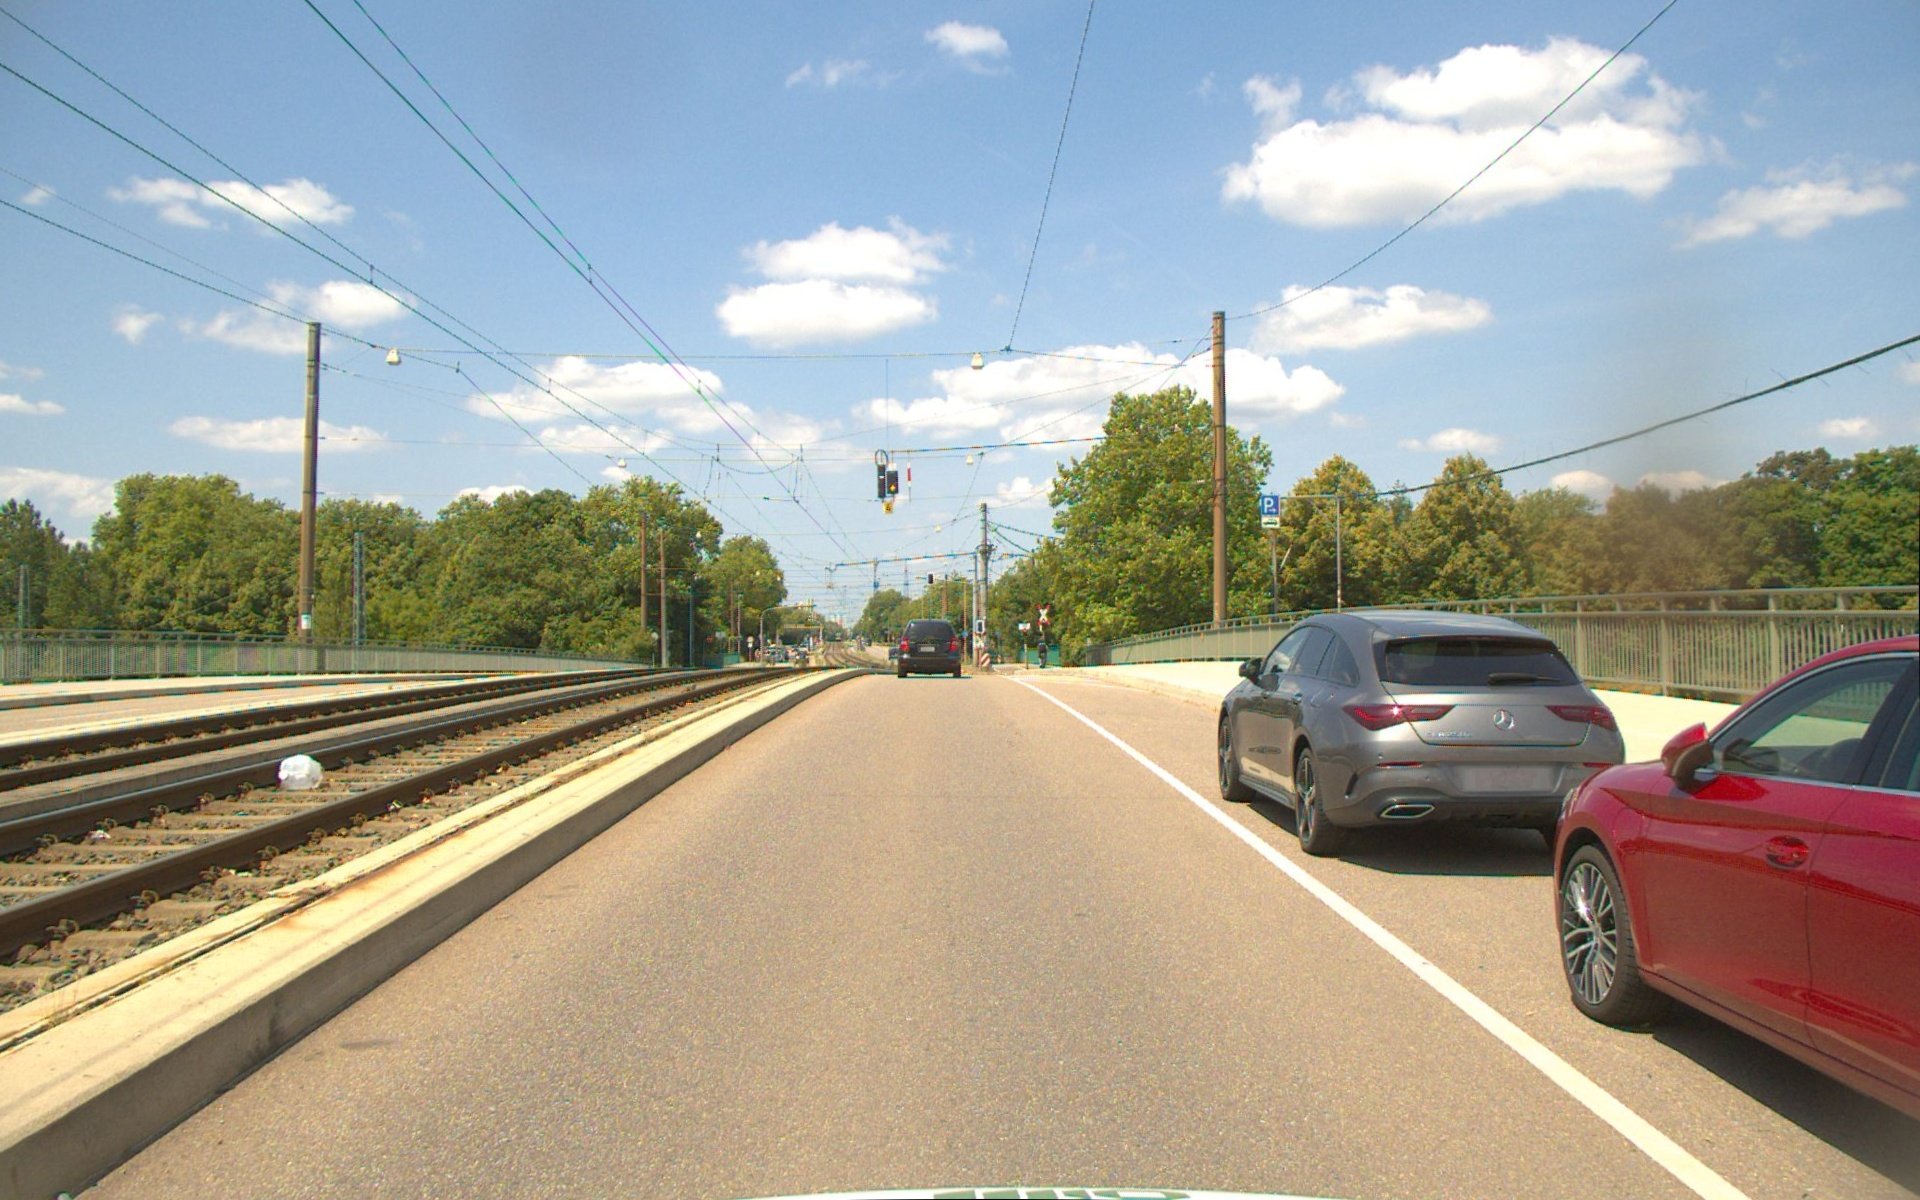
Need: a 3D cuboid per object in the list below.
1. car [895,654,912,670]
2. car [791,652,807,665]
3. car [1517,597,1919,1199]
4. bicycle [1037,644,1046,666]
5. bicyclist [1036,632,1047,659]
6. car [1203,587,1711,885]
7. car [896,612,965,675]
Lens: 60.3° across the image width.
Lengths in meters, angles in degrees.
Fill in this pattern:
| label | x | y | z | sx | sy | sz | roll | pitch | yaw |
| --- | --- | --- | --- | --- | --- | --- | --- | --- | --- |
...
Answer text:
| label | x | y | z | sx | sy | sz | roll | pitch | yaw |
| --- | --- | --- | --- | --- | --- | --- | --- | --- | --- |
| car | -6.690 | 7.345 | 195.139 | 1.846 | 1.668 | 3.999 | 3 | -1 | 0 |
| car | -20.346 | 7.386 | 209.651 | 1.670 | 1.537 | 3.732 | -1 | -2 | 0 |
| car | 3.161 | 0.748 | 4.744 | 1.613 | 1.485 | 4.284 | 1 | 0 | -1 |
| bicycle | 4.493 | 3.023 | 91.214 | 0.423 | 1.172 | 1.855 | 1 | 0 | 0 |
| bicyclist | 4.502 | 2.508 | 91.280 | 0.573 | 1.521 | 0.558 | 1 | -1 | 0 |
| car | 3.009 | 0.710 | 11.206 | 1.953 | 1.579 | 4.720 | 1 | 0 | -1 |
| car | -0.822 | 1.162 | 46.032 | 1.815 | 1.597 | 4.387 | 0 | 0 | -1 |
